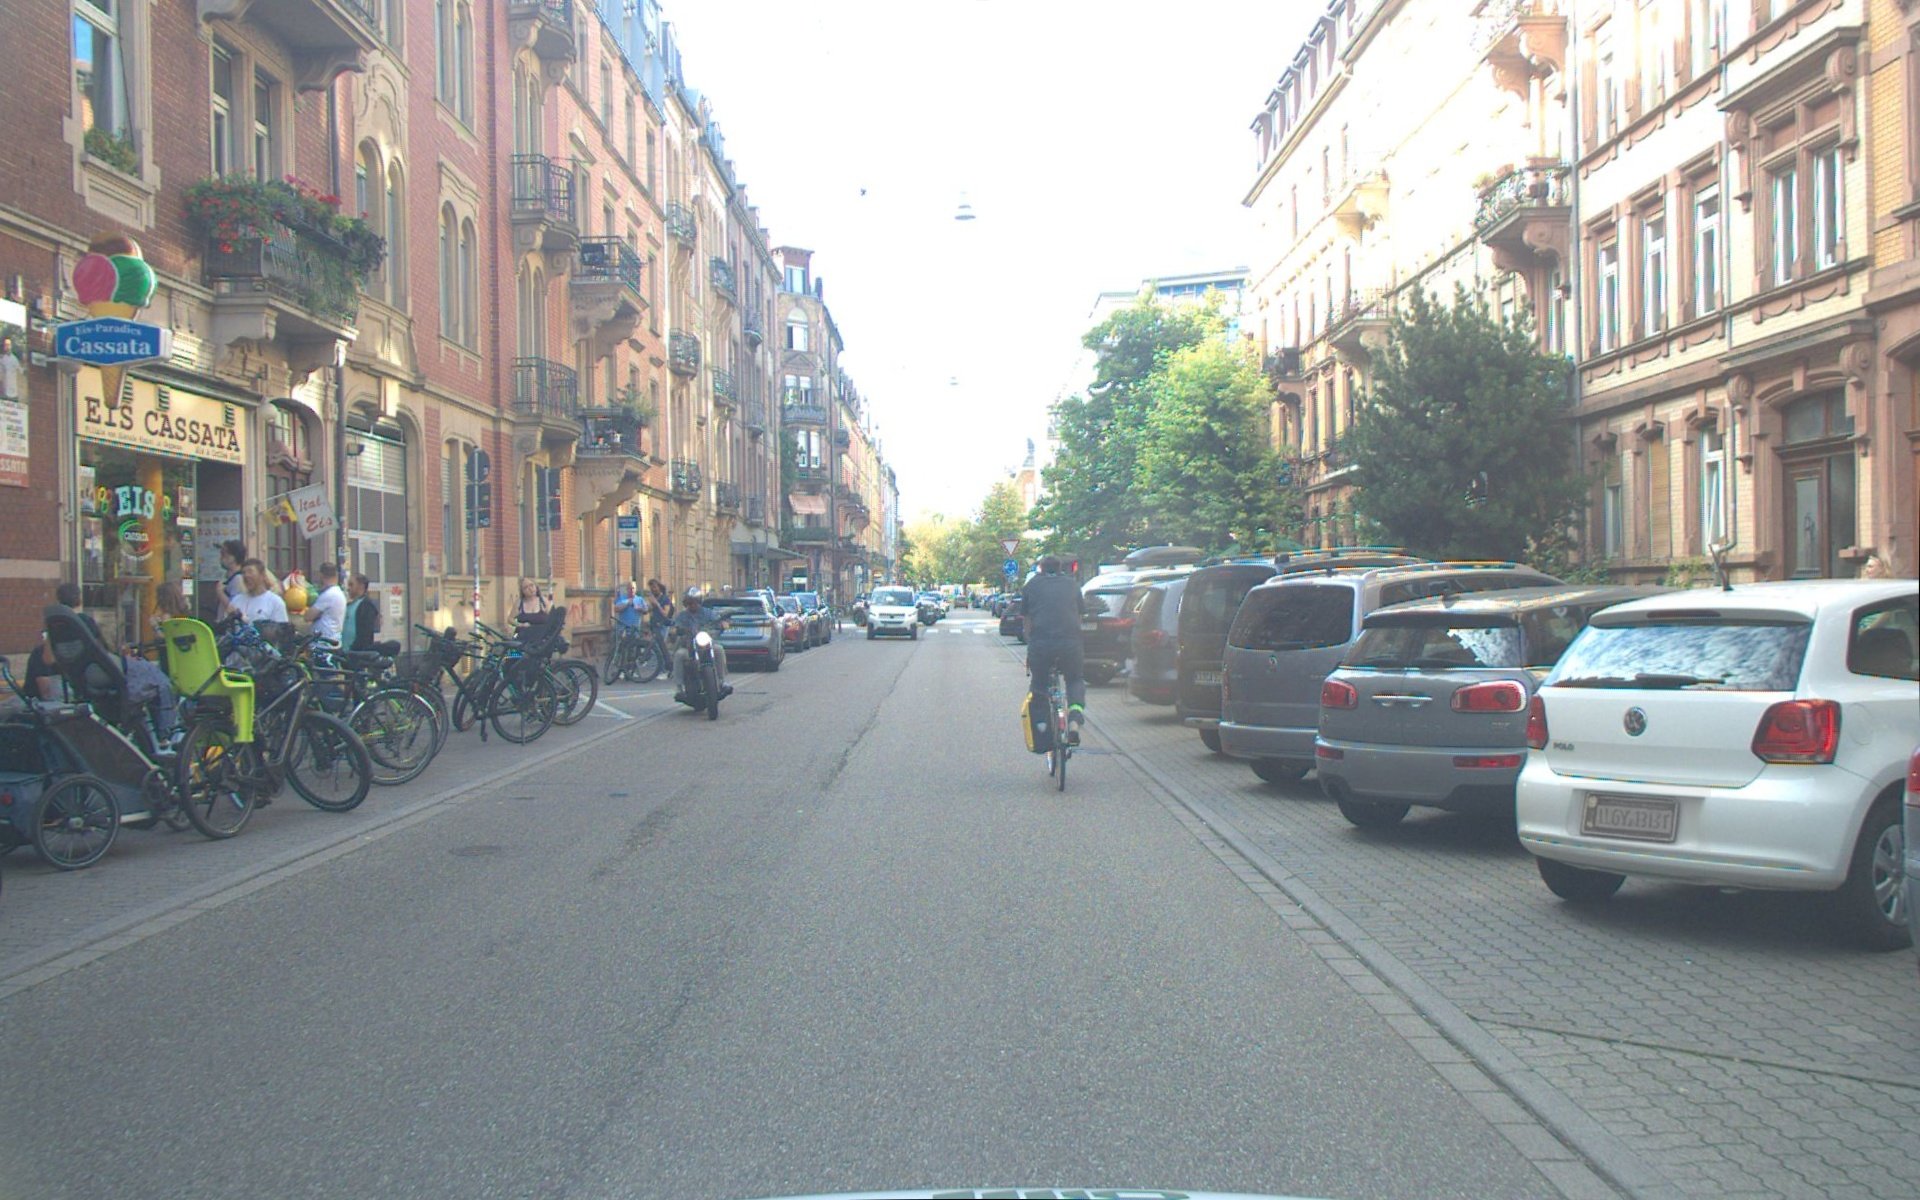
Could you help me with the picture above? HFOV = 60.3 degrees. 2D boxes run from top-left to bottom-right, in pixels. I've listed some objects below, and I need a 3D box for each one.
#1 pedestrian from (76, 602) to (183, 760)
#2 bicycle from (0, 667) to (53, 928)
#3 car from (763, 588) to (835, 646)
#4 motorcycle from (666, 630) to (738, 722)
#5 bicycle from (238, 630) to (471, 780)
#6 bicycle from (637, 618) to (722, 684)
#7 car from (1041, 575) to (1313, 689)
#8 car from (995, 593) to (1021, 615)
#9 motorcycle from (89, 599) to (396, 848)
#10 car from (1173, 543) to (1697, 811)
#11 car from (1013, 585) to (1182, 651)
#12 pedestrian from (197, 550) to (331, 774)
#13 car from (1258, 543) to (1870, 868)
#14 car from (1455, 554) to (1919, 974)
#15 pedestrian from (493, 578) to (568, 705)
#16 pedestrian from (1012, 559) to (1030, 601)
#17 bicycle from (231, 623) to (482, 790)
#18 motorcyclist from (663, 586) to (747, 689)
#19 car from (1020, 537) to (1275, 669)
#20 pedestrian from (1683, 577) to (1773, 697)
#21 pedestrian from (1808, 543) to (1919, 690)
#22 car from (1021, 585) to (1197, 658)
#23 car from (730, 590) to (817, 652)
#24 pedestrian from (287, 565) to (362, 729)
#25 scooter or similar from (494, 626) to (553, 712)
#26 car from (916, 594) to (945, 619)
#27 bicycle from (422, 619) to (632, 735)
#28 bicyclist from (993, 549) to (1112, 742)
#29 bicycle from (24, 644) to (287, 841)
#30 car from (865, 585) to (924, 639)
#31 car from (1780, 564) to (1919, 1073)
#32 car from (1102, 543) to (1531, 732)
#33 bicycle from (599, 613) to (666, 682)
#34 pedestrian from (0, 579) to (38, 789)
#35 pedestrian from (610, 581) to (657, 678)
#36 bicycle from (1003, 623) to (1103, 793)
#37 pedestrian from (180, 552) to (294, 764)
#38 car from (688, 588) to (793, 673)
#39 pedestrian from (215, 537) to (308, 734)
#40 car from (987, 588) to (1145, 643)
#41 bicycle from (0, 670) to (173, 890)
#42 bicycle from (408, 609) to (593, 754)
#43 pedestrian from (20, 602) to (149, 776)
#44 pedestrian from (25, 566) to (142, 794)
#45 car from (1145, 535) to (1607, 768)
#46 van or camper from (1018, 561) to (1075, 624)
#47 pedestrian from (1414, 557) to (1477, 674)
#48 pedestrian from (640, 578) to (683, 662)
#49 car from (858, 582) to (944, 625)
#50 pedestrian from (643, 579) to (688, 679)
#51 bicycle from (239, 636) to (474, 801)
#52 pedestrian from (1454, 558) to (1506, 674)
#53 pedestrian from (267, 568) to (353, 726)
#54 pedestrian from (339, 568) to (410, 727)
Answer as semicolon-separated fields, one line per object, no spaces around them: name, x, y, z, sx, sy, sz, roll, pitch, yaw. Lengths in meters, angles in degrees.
pedestrian;-7.160;0.686;14.276;0.703;1.336;0.439;0;0;-5
bicycle;-4.839;0.884;7.846;1.551;1.136;0.372;0;0;39
car;-4.904;0.512;50.926;1.754;1.657;4.847;-1;0;0
motorcycle;-3.194;0.916;20.650;0.778;1.012;2.496;0;0;-7
bicycle;-4.951;0.832;13.583;1.719;1.140;0.548;0;0;-37
bicycle;-4.788;0.854;28.352;0.472;1.078;1.903;1;0;23
car;3.689;0.474;27.779;4.407;1.762;1.975;0;1;-36
car;3.157;0.276;109.530;1.611;1.347;3.577;-4;0;1
motorcycle;-4.465;0.702;10.484;0.692;1.408;2.025;0;0;14
car;3.830;0.503;13.205;3.948;1.771;1.820;-2;0;-32
car;3.770;0.454;44.998;4.418;1.490;1.856;-4;2;-35
pedestrian;-5.755;0.491;13.714;0.591;1.782;0.946;0;0;12
car;3.965;0.528;10.614;3.960;1.575;1.844;-4;1;-38
car;4.422;0.558;7.945;3.951;1.476;1.716;-4;0;-33
pedestrian;-5.832;0.558;22.491;0.894;1.690;0.826;0;0;-9
pedestrian;2.592;-0.842;69.946;0.615;1.769;0.776;-1;0;12
bicycle;-4.720;0.797;12.998;1.771;1.221;0.583;0;0;-37
motorcyclist;-3.195;0.461;20.796;0.994;1.267;0.802;0;0;-6
car;3.844;0.012;33.568;5.098;2.447;1.896;-2;0;-34
pedestrian;8.324;0.396;17.950;0.588;1.240;0.673;-3;0;-1
pedestrian;9.865;0.165;17.889;0.910;1.523;0.811;-2;0;-7
car;3.826;0.507;42.097;4.429;1.502;1.862;-5;2;-40
car;-5.066;0.558;45.452;1.953;1.572;4.426;-1;0;-1
pedestrian;-6.822;0.492;17.751;0.657;1.725;0.580;0;0;-31
scooter or similar;-5.709;0.891;21.654;0.593;1.074;0.921;1;0;-6
car;-1.782;0.387;99.816;1.714;1.461;4.210;0;-1;-2
bicycle;-4.739;0.809;18.267;0.792;1.179;2.261;0;0;36
bicyclist;0.736;0.359;13.372;0.914;1.510;0.747;0;0;-1
bicycle;-5.138;0.869;10.696;0.566;1.109;1.739;0;0;12
car;-2.295;0.416;58.960;1.878;1.860;4.438;0;0;0
car;4.703;0.533;5.553;3.957;1.486;1.863;-3;-1;-37
car;4.074;0.388;19.391;4.543;1.815;1.810;-4;2;-2
bicycle;-5.527;0.785;28.026;0.482;1.114;1.906;1;0;8
pedestrian;-7.148;0.599;11.870;0.591;1.495;0.726;0;0;10
pedestrian;-5.767;0.519;29.234;0.672;1.690;0.545;0;0;-31
bicycle;0.711;0.808;13.317;0.652;1.198;2.497;0;0;0
pedestrian;-6.230;0.483;14.281;0.591;1.782;0.726;0;0;10
car;-4.428;0.582;34.065;1.789;1.606;5.259;0;0;-4
pedestrian;-6.894;0.343;16.312;0.753;1.886;0.659;0;0;-31
car;3.434;0.465;53.417;4.701;1.482;2.037;-4;2;-29
bicycle;-4.924;0.909;8.662;1.646;1.048;0.409;0;0;20
bicycle;-4.460;0.763;16.113;1.659;1.345;0.521;0;0;-37
pedestrian;-6.910;0.688;13.081;0.708;1.336;0.606;0;0;-4
pedestrian;-6.468;0.576;12.225;0.542;1.645;0.584;0;0;0
car;4.042;0.412;15.840;4.348;1.854;1.736;-3;0;-33
van or camper;4.385;-0.382;84.537;2.480;3.090;4.456;-1;0;-2
pedestrian;7.351;0.229;25.026;0.643;1.724;0.688;0;0;-44
pedestrian;-6.662;0.441;36.932;0.740;1.839;0.863;0;0;3
car;-2.725;0.158;76.842;3.906;1.915;1.999;0;0;-2
pedestrian;-5.187;0.499;29.110;0.559;1.739;0.659;1;0;-35
bicycle;-4.503;0.852;12.384;1.553;1.140;0.583;0;0;-37
pedestrian;7.666;0.236;24.406;0.561;1.688;0.632;0;0;0
pedestrian;-7.254;0.518;18.486;0.650;1.725;0.763;0;0;0
pedestrian;-6.469;0.511;18.271;0.559;1.725;0.638;1;0;-39
